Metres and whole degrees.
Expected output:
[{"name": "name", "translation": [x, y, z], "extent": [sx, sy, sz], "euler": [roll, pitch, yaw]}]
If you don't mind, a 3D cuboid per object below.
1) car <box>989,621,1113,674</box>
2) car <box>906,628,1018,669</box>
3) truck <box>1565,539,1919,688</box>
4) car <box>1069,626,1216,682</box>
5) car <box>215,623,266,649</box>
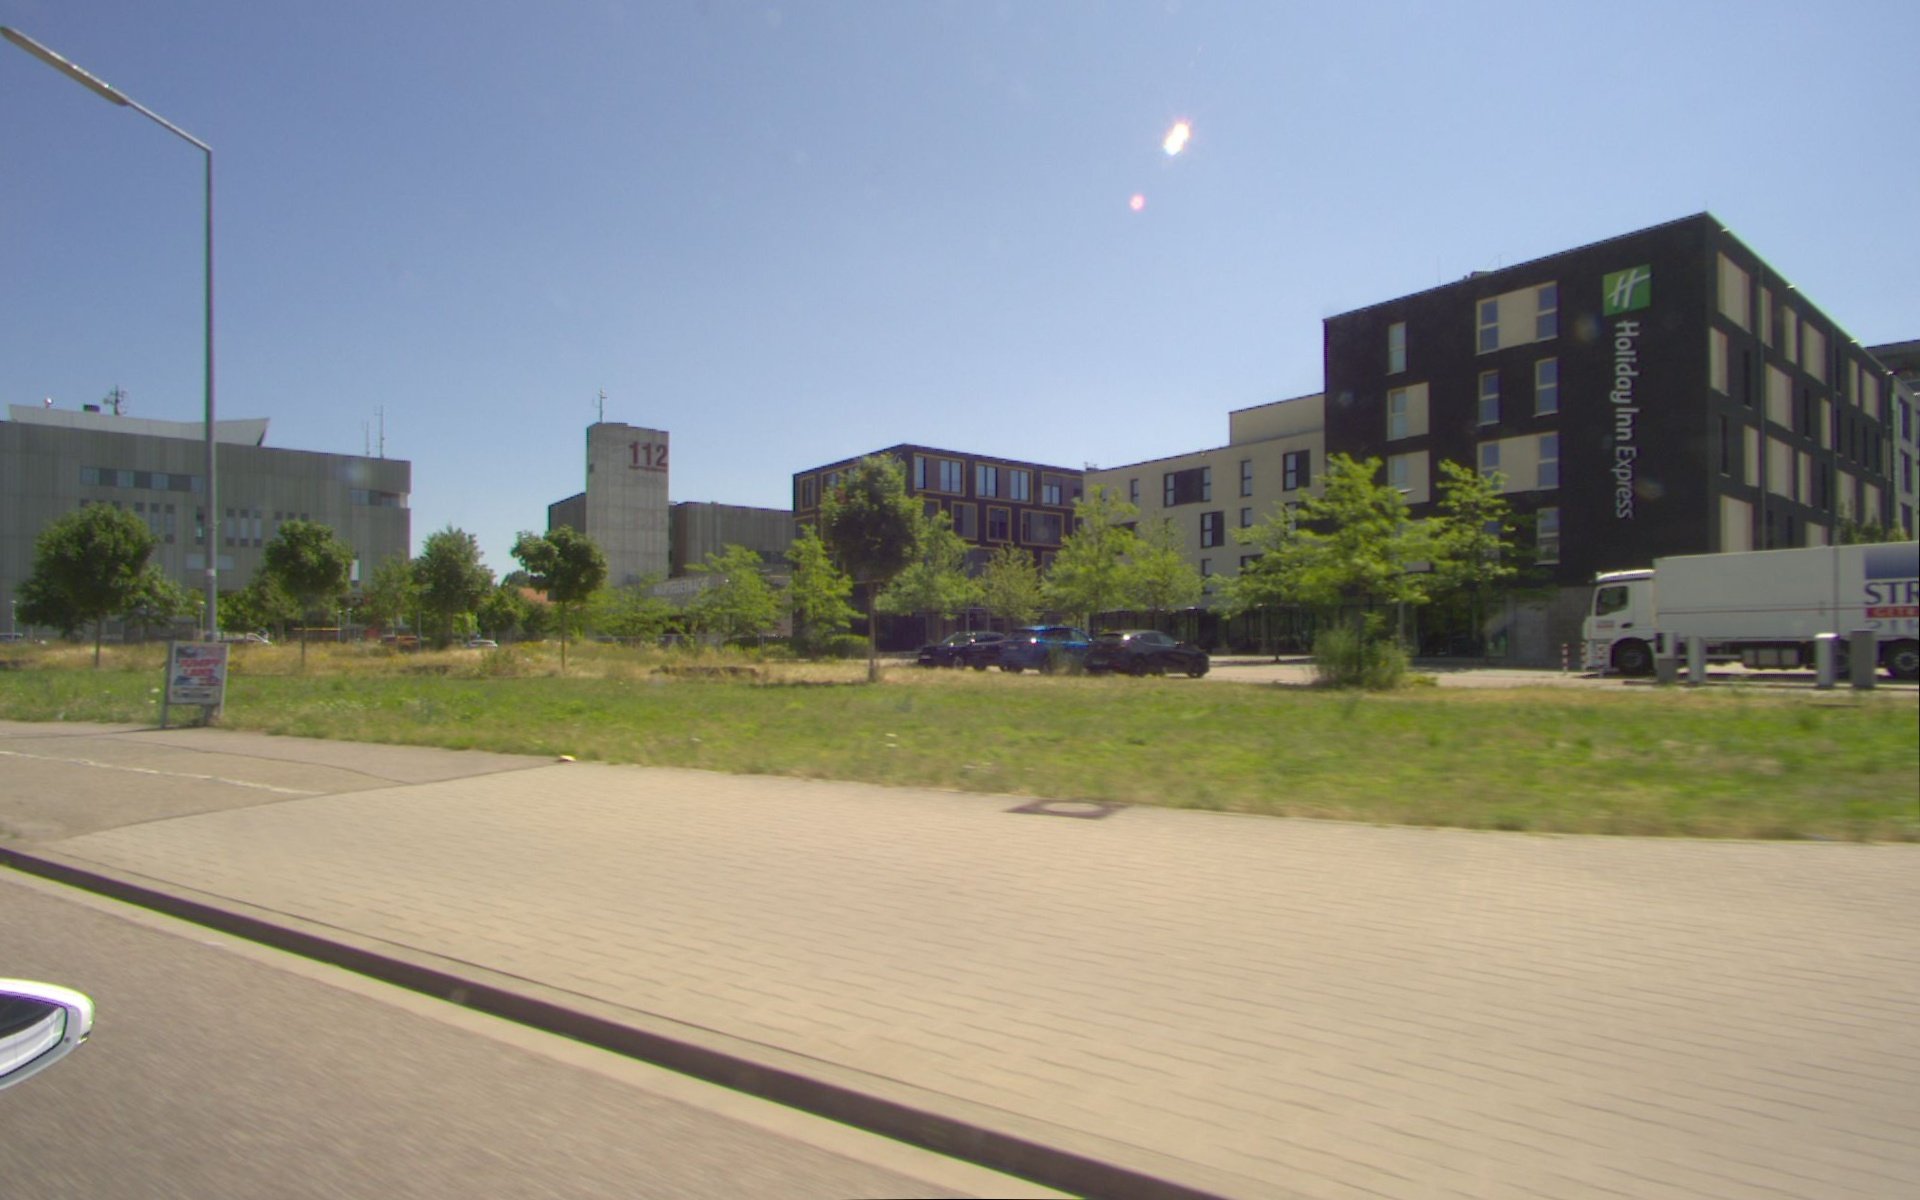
[{"name": "car", "translation": [3.127, 1.596, 34.094], "extent": [4.025, 1.673, 1.939], "euler": [2, -2, -39]}, {"name": "car", "translation": [0.120, 1.822, 38.024], "extent": [4.088, 1.463, 1.943], "euler": [2, -3, -44]}, {"name": "truck", "translation": [22.825, 0.365, 25.915], "extent": [2.981, 3.506, 12.054], "euler": [-1, -1, -36]}, {"name": "car", "translation": [5.537, 1.584, 30.112], "extent": [4.459, 1.582, 2.015], "euler": [2, -2, -40]}, {"name": "car", "translation": [-67.794, 3.388, 94.381], "extent": [3.810, 2.323, 1.729], "euler": [1, -2, -38]}]
